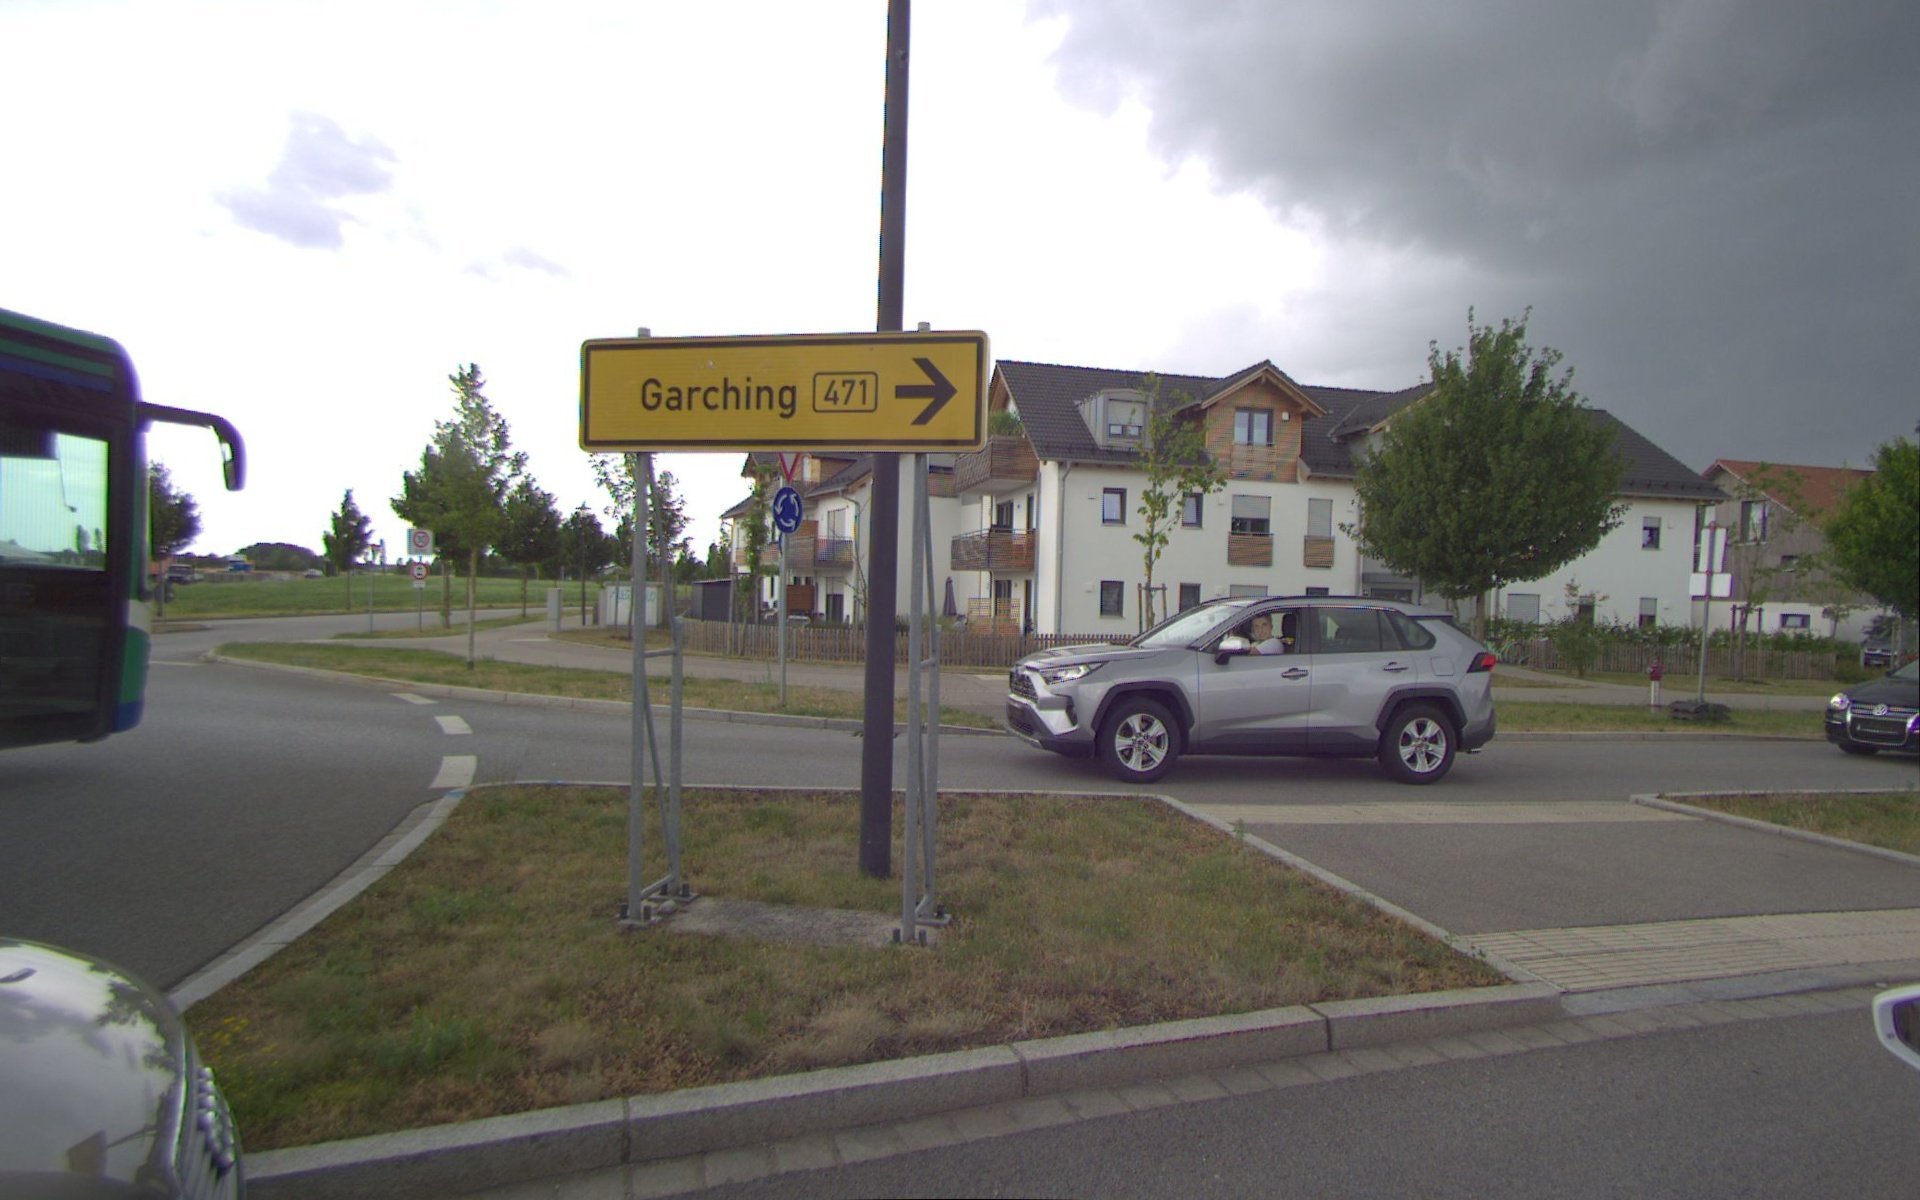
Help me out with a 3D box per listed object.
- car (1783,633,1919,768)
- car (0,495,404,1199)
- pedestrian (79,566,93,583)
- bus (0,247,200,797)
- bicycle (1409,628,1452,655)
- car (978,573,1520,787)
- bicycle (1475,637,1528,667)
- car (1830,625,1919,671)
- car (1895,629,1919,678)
[{"bbox_3d":[12.377,1.183,11.900,4.378,1.435,1.755,2,-1,-13],"label":"car"},{"bbox_3d":[-2.831,0.593,0.201,4.504,1.485,1.762,1,1,-40],"label":"car"},{"bbox_3d":[-103.540,-3.030,118.956,1.044,2.041,1.047,3,1,39],"label":"pedestrian"},{"bbox_3d":[-7.248,-0.533,4.244,2.474,3.301,6.553,2,-1,7],"label":"bus"},{"bbox_3d":[15.887,1.407,33.932,1.314,0.854,0.367,2,3,-12],"label":"bicycle"},{"bbox_3d":[2.621,0.731,9.576,4.553,1.726,1.996,2,-1,-12],"label":"car"},{"bbox_3d":[16.747,1.602,31.084,1.520,0.854,0.367,2,3,-12],"label":"bicycle"},{"bbox_3d":[40.534,2.101,43.439,4.384,1.795,1.997,2,1,-9],"label":"car"},{"bbox_3d":[35.242,1.981,34.306,1.964,1.702,4.536,2,1,-10],"label":"car"}]
